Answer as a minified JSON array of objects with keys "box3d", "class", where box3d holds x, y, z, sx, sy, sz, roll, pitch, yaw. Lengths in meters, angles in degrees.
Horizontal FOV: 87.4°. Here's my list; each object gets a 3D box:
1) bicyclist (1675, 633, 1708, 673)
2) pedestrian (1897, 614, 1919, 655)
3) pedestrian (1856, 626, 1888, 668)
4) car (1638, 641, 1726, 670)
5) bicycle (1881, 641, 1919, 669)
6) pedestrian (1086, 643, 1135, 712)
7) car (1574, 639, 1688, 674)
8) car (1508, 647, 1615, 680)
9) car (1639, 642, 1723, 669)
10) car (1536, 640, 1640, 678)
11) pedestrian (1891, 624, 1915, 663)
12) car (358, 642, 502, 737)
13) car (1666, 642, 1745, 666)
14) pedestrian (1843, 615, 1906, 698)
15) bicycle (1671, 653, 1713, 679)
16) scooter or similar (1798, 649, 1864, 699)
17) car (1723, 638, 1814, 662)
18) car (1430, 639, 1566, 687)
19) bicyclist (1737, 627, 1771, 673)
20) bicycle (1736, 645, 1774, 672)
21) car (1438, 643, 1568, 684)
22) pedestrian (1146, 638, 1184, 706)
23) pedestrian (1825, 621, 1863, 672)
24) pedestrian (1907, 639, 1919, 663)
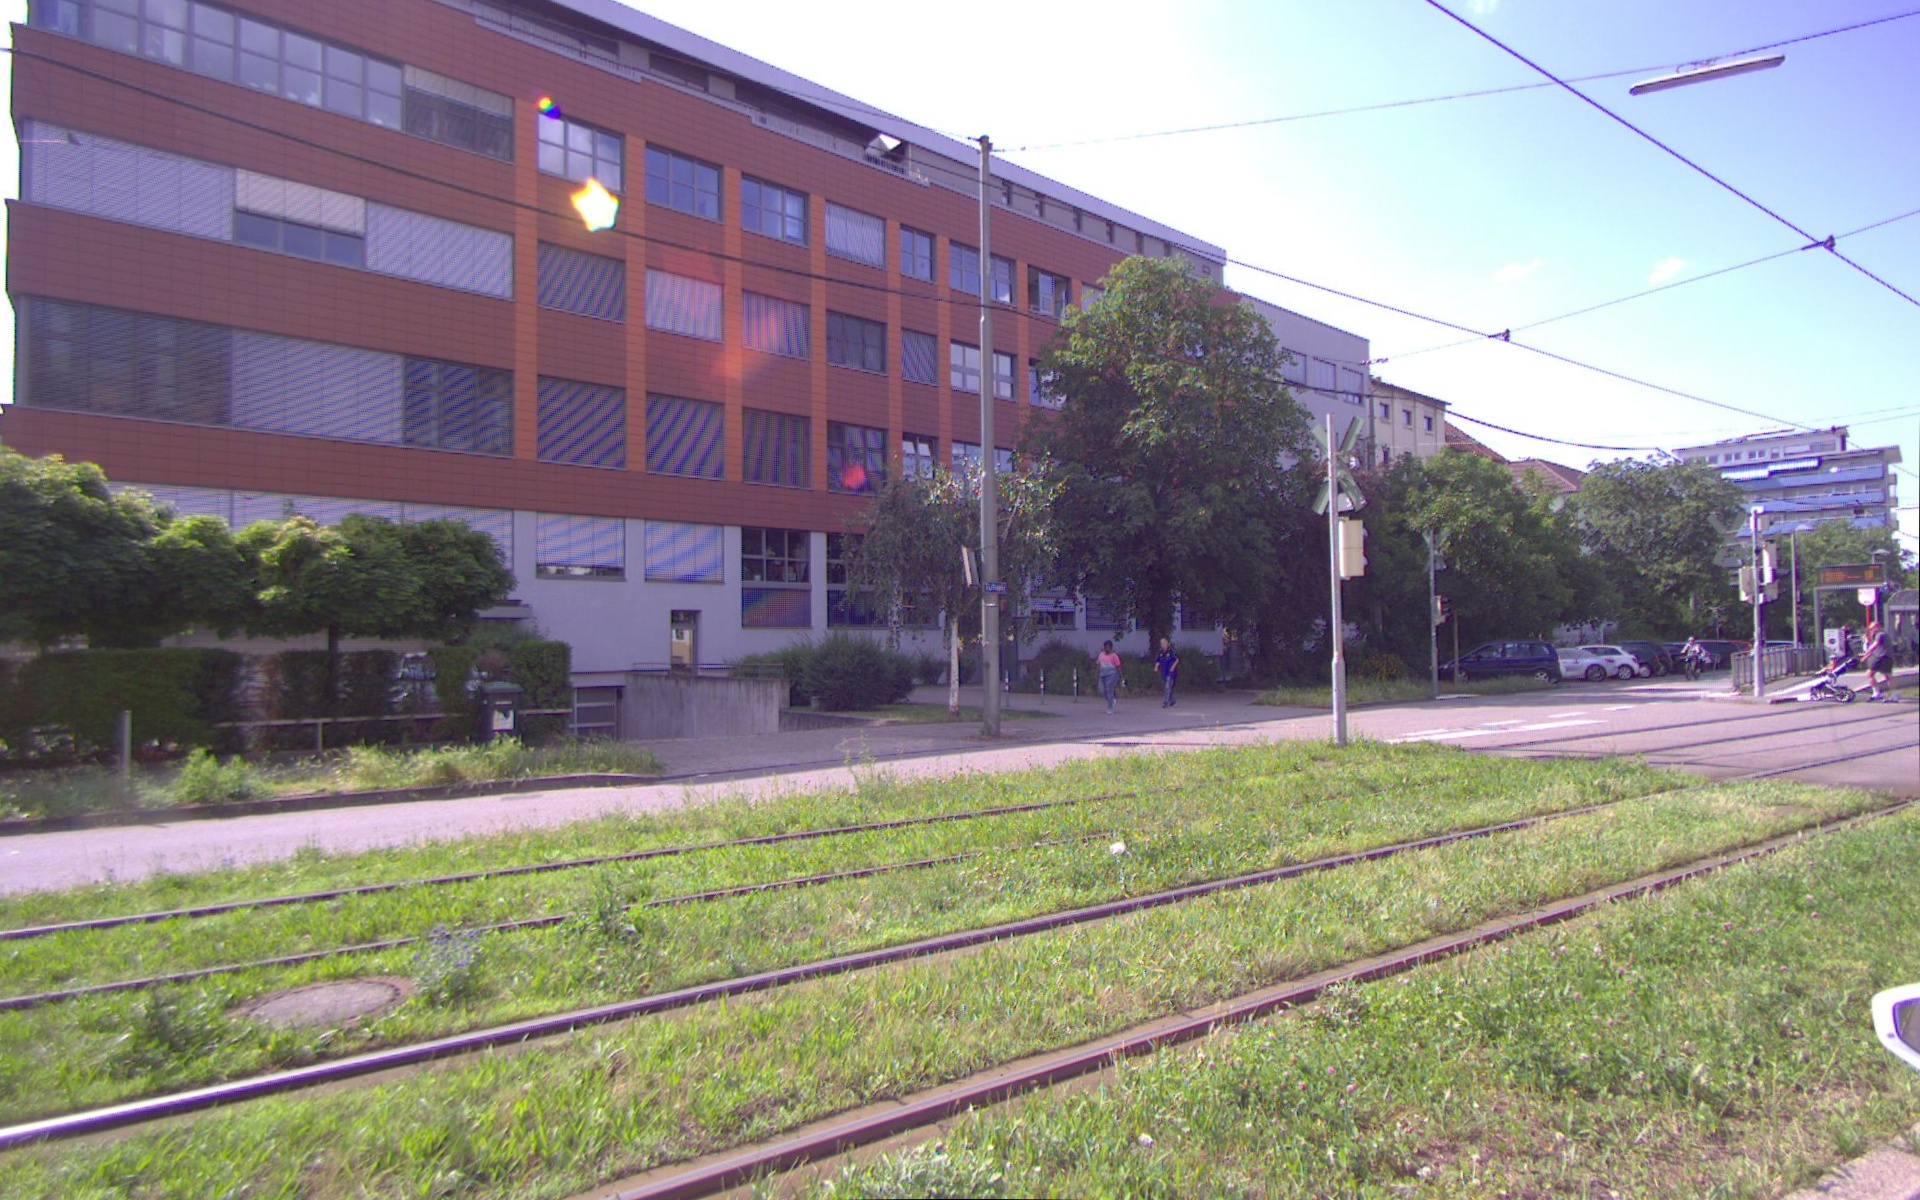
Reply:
[{"box3d":[29.693,2.160,40.773,0.855,1.602,0.780,1,-4,-35],"class":"bicyclist"},{"box3d":[40.296,1.461,42.609,0.650,1.714,0.650,1,-4,-38],"class":"pedestrian"},{"box3d":[35.115,1.821,38.685,0.678,1.589,0.660,1,-4,-31],"class":"pedestrian"},{"box3d":[35.583,2.732,49.545,3.181,1.326,1.457,-1,-2,3],"class":"car"},{"box3d":[35.370,2.041,37.654,1.749,0.987,0.683,0,-5,-29],"class":"bicycle"},{"box3d":[3.532,1.813,23.637,0.879,1.594,0.742,2,-4,-30],"class":"pedestrian"},{"box3d":[30.477,2.574,45.719,3.919,1.475,1.692,-2,-3,11],"class":"car"},{"box3d":[24.073,2.551,40.279,3.320,1.252,1.546,-1,-3,12],"class":"car"},{"box3d":[37.067,2.862,51.691,3.181,1.326,1.457,-1,-3,6],"class":"car"},{"box3d":[26.369,2.485,42.272,3.320,1.524,1.546,-1,-3,14],"class":"car"},{"box3d":[42.916,2.000,45.708,0.551,1.759,0.590,1,-4,-34],"class":"pedestrian"},{"box3d":[-10.345,1.650,19.478,1.980,1.617,3.961,1,-3,-35],"class":"car"},{"box3d":[41.358,2.995,55.785,3.181,1.326,1.457,-1,-3,6],"class":"car"},{"box3d":[20.467,1.261,22.474,0.995,1.798,0.864,1,-3,-40],"class":"pedestrian"},{"box3d":[29.686,2.662,40.728,2.157,0.983,0.676,1,-4,-35],"class":"bicycle"},{"box3d":[19.778,1.686,22.803,0.790,1.078,0.947,1,-5,-39],"class":"scooter or similar"},{"box3d":[49.643,3.093,61.750,3.919,1.385,1.718,-2,-3,11],"class":"car"},{"box3d":[19.588,2.301,36.736,4.049,1.662,1.727,-1,-3,12],"class":"car"},{"box3d":[36.576,2.284,46.251,0.938,2.039,1.567,-6,-6,44],"class":"bicyclist"},{"box3d":[36.547,2.693,46.183,1.142,1.193,1.777,-5,-5,44],"class":"bicycle"},{"box3d":[20.888,2.453,38.799,4.049,1.518,1.727,-1,-3,12],"class":"car"},{"box3d":[5.153,1.806,25.231,0.738,1.678,0.554,1,-3,-30],"class":"pedestrian"},{"box3d":[31.161,1.637,35.410,0.654,1.749,0.715,-1,-2,4],"class":"pedestrian"},{"box3d":[41.523,2.185,43.240,0.790,1.001,0.918,2,-5,-36],"class":"pedestrian"}]
